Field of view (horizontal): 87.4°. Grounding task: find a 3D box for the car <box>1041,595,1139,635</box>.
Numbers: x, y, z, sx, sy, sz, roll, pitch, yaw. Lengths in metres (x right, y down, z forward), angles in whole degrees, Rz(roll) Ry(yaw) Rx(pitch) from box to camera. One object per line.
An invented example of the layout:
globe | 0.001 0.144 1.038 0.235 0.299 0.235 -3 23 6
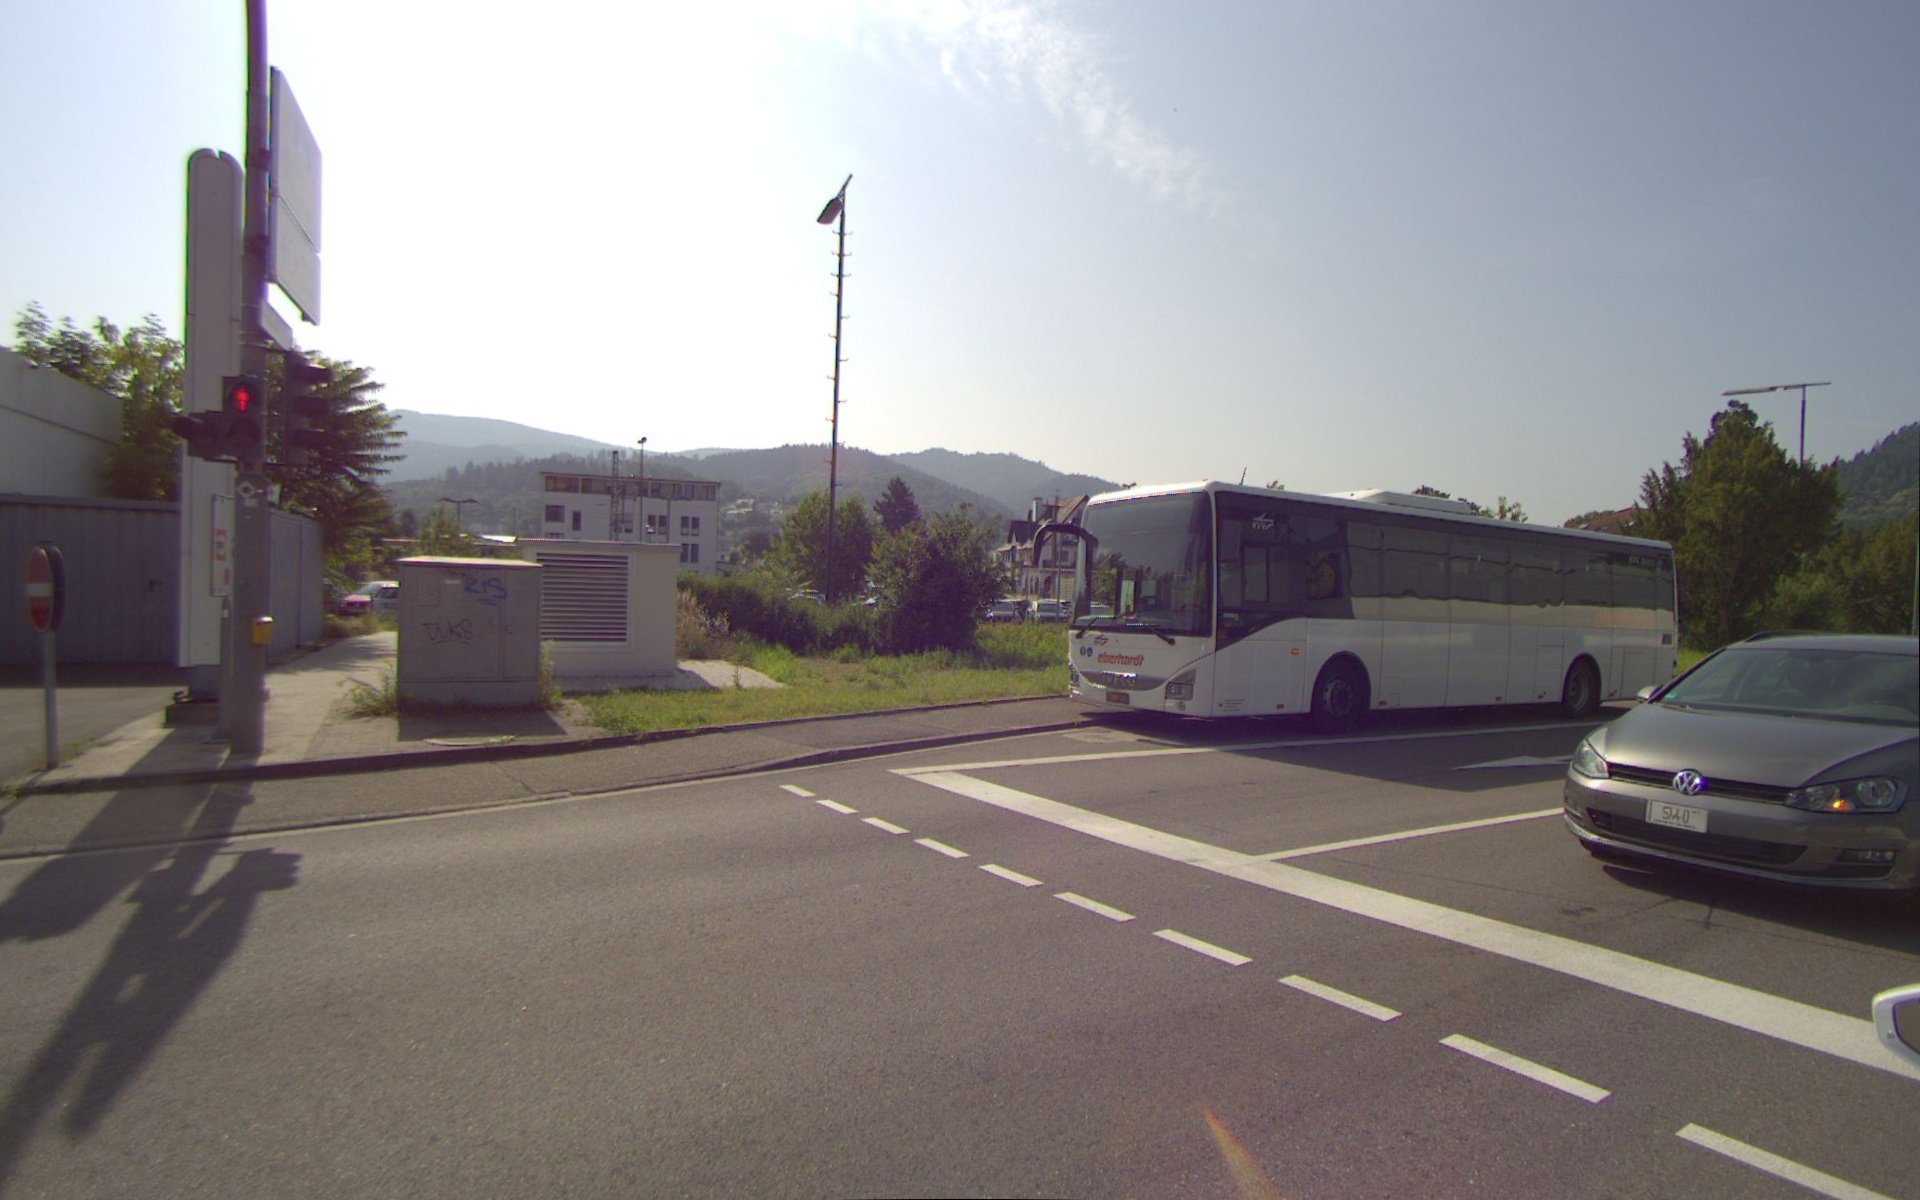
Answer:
car | 5.458 0.617 42.724 1.980 1.571 3.961 2 0 -34

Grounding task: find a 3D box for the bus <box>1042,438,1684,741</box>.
bus | 6.820 0.072 15.389 11.825 3.354 2.606 2 0 -32

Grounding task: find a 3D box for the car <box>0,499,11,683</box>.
car | -9.533 0.026 8.060 1.679 1.820 3.763 2 4 -25

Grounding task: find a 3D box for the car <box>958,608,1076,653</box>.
car | 1.759 0.945 30.629 3.434 1.255 1.303 2 0 -30

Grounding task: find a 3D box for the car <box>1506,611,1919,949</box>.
car | 5.556 0.895 6.395 4.171 1.492 1.763 2 0 -31
